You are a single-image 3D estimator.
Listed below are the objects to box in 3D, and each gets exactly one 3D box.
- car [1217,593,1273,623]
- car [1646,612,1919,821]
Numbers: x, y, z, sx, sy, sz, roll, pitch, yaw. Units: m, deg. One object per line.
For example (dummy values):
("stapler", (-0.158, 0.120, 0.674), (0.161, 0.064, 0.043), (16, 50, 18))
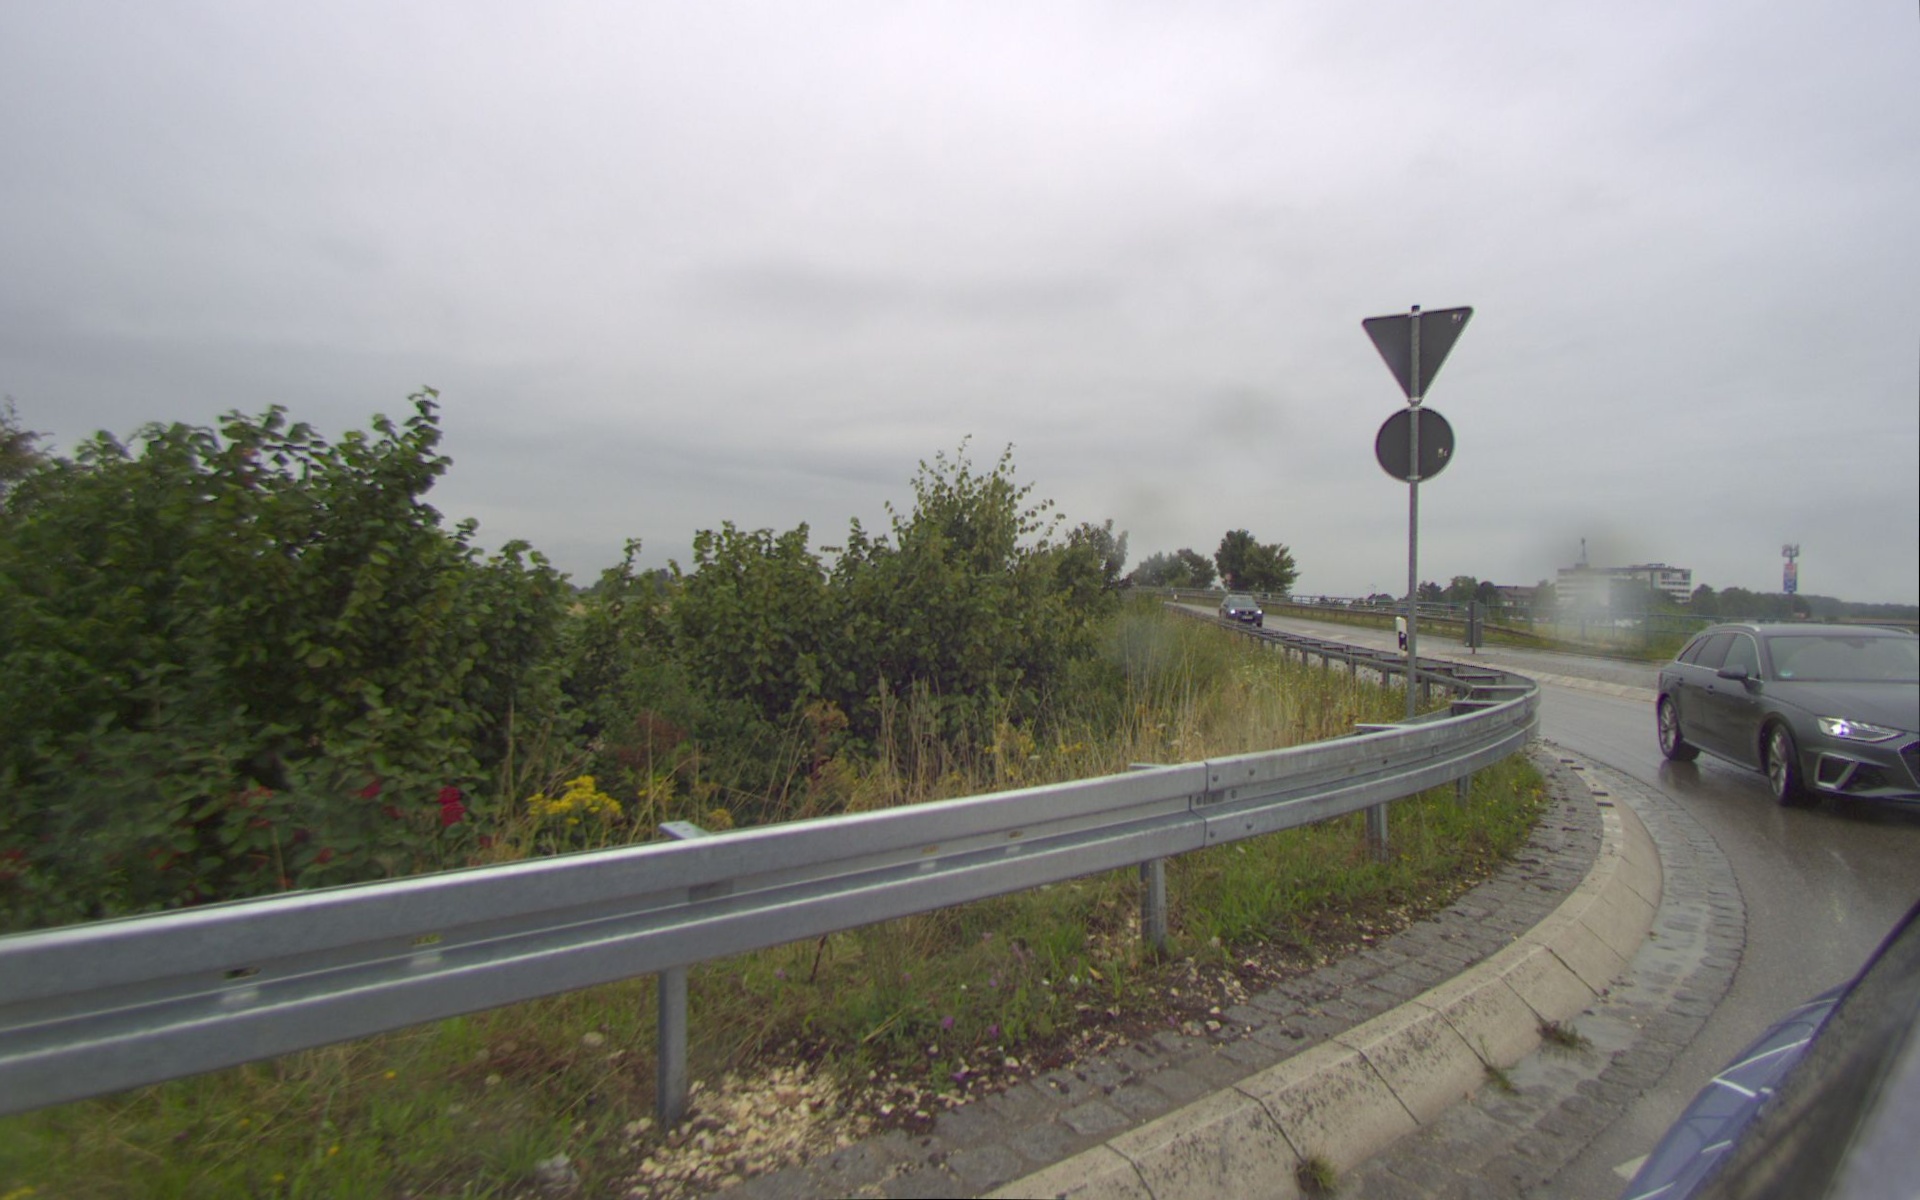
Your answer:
("car", (14.437, 0.377, 51.557), (1.877, 1.386, 4.560), (1, 1, 5))
("car", (7.756, 0.818, 8.822), (1.887, 1.386, 4.533), (0, 0, 20))
